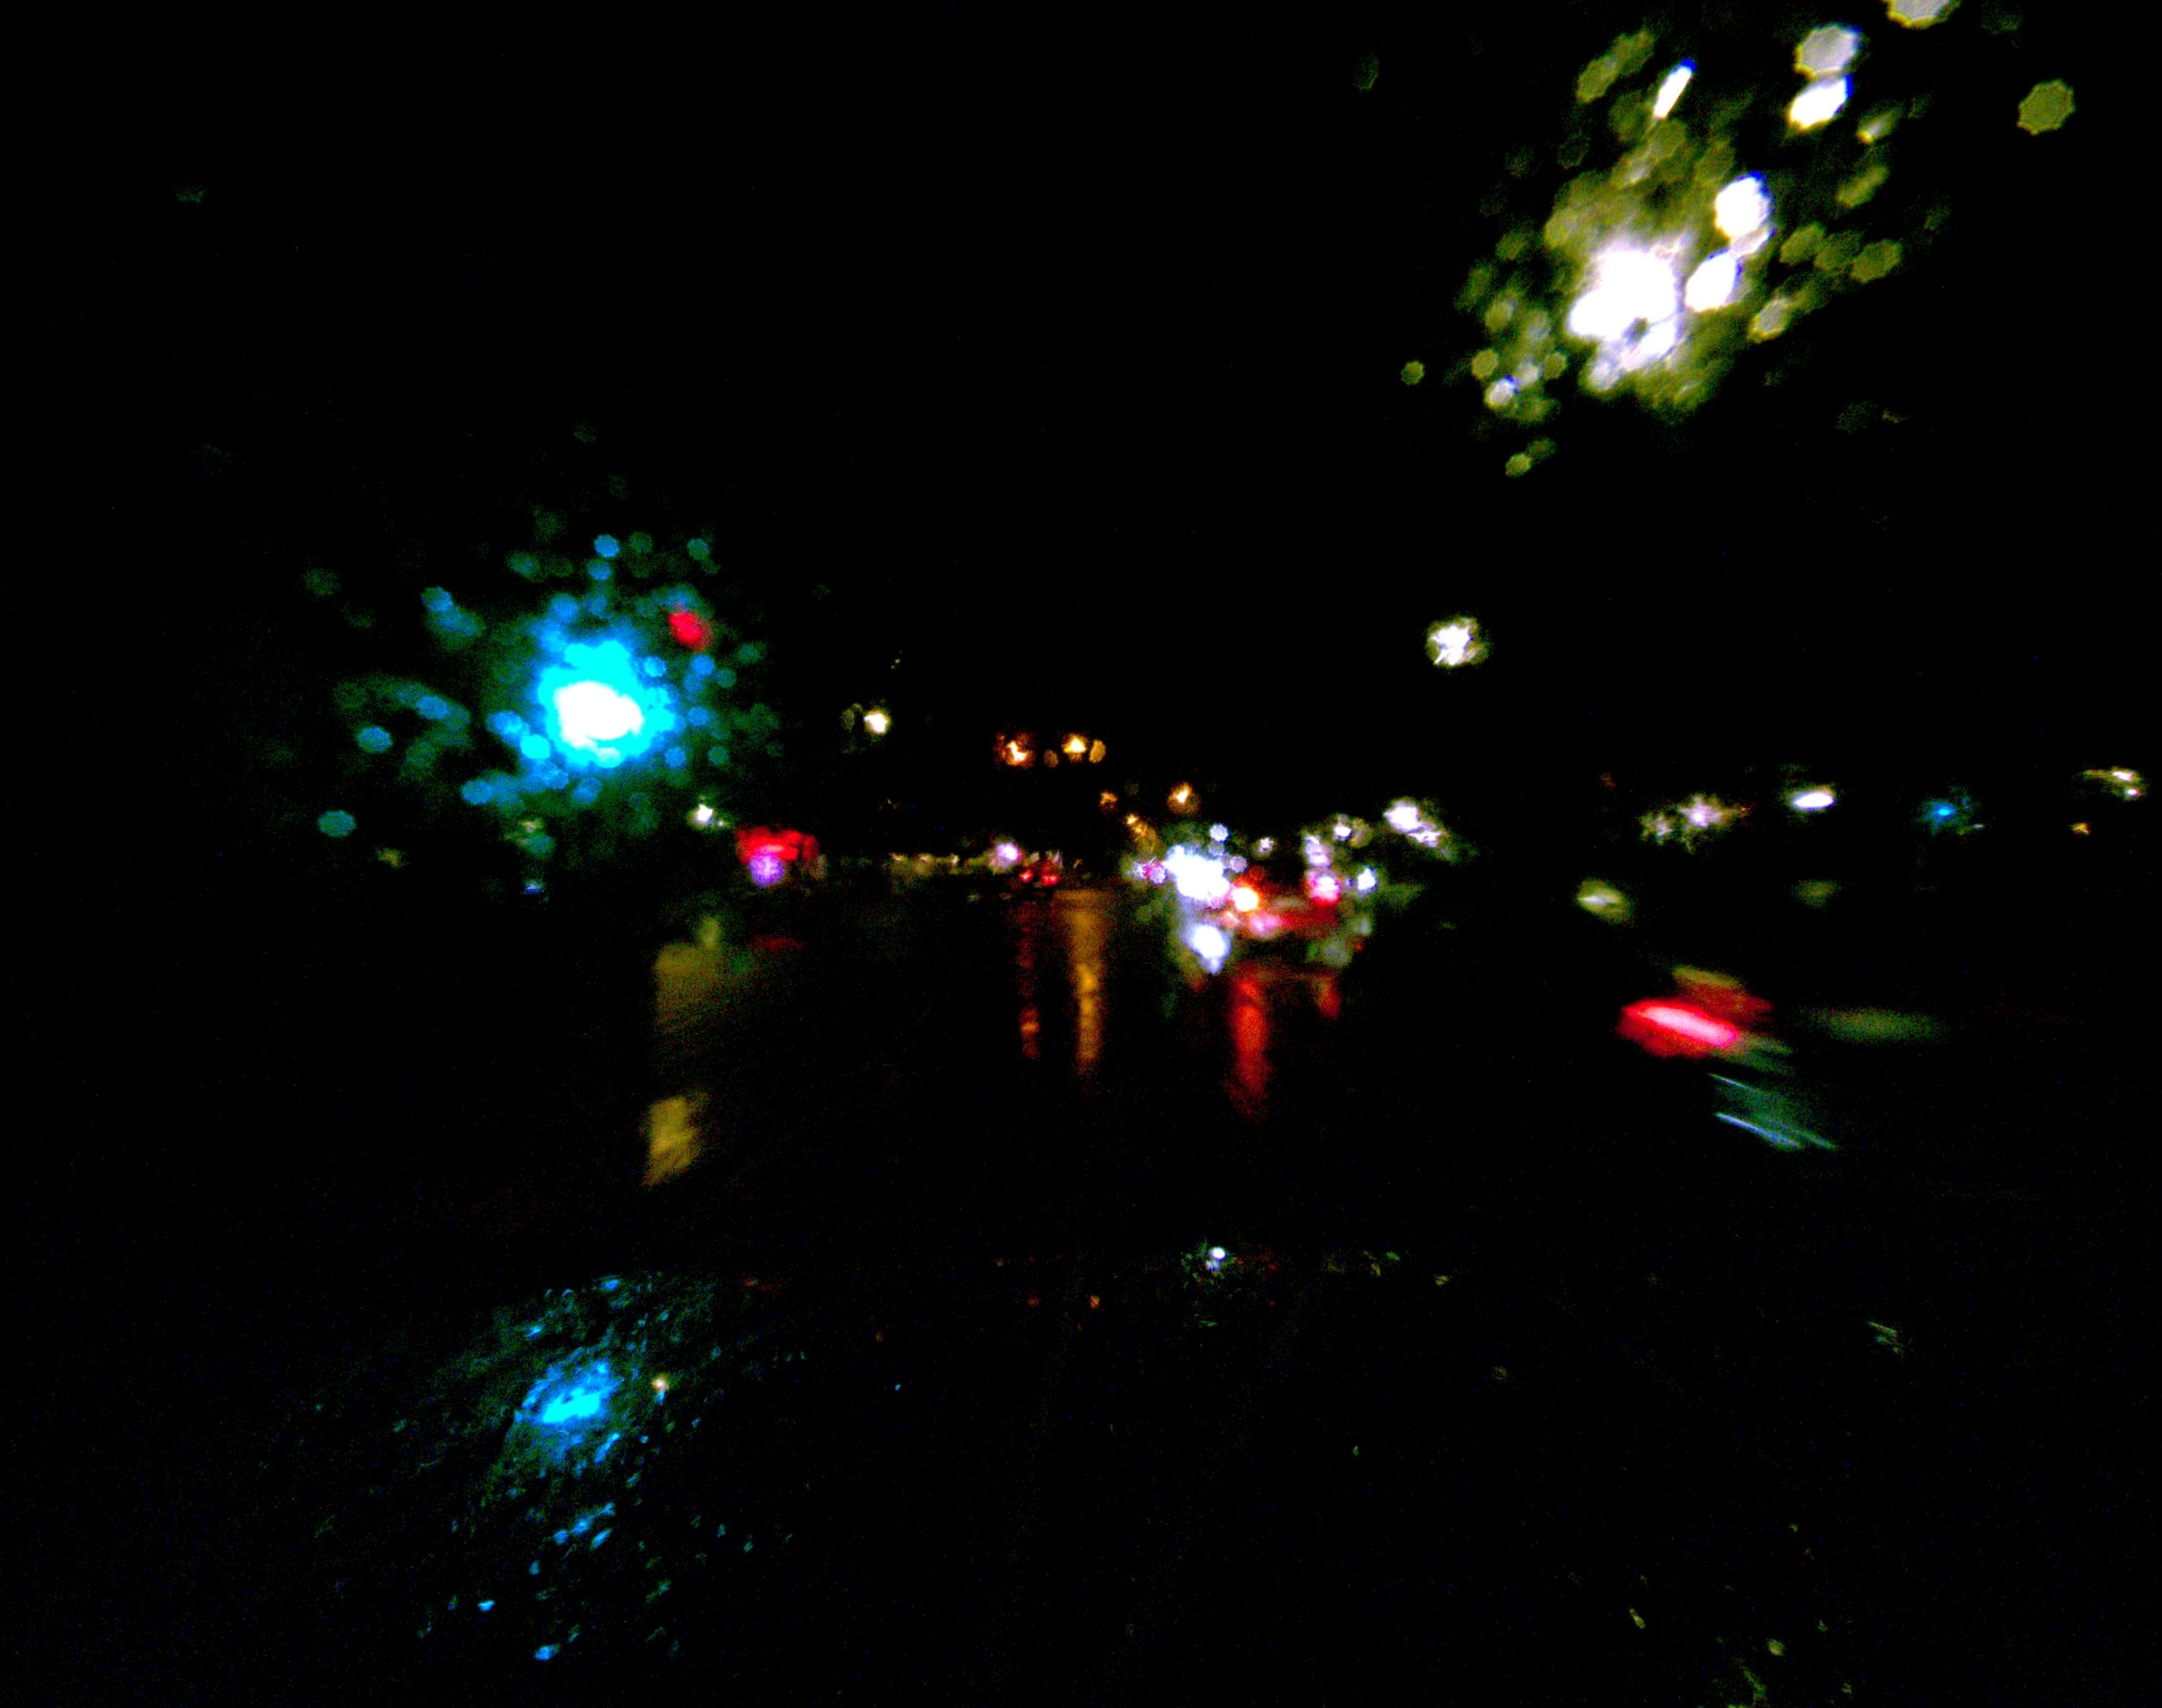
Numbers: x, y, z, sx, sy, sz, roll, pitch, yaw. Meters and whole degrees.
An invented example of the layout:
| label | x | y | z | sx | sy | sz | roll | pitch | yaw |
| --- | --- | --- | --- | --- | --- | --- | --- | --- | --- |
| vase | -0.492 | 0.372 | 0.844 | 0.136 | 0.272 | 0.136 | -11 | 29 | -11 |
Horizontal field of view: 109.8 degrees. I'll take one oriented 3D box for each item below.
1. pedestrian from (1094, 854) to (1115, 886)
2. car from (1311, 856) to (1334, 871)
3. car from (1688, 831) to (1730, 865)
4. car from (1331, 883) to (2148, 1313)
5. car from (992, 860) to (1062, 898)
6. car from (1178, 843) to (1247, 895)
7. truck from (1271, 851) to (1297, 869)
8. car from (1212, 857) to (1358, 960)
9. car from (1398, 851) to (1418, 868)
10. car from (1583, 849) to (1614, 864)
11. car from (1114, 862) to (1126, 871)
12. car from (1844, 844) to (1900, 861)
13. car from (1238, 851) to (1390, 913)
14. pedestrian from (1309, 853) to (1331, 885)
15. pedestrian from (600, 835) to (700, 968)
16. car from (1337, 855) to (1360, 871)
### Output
| label | x | y | z | sx | sy | sz | roll | pitch | yaw |
| --- | --- | --- | --- | --- | --- | --- | --- | --- | --- |
| pedestrian | 1.379 | 0.932 | 44.633 | 1.109 | 1.815 | 0.852 | -1 | -1 | 9 |
| car | 24.785 | 0.939 | 77.935 | 1.715 | 1.511 | 3.926 | -2 | -1 | 26 |
| car | 52.841 | -0.519 | 64.003 | 1.715 | 2.715 | 4.362 | -2 | 0 | 26 |
| car | 3.066 | 0.971 | 4.816 | 1.672 | 1.412 | 4.098 | -1 | 0 | 1 |
| car | -2.414 | 1.046 | 32.895 | 1.714 | 1.533 | 3.981 | -1 | 0 | -24 |
| car | 5.283 | 0.625 | 31.250 | 2.039 | 1.941 | 5.201 | -1 | -1 | 1 |
| truck | 24.096 | 0.768 | 89.990 | 2.125 | 2.001 | 5.272 | -2 | -1 | 24 |
| car | 3.473 | 0.846 | 13.663 | 1.672 | 1.553 | 4.008 | -1 | 0 | 2 |
| car | 36.362 | 0.588 | 84.327 | 1.866 | 1.750 | 4.502 | -2 | -1 | 25 |
| car | 52.193 | 0.264 | 76.743 | 1.866 | 1.434 | 4.502 | -2 | -1 | 25 |
| car | 6.904 | 2.187 | 134.751 | 1.826 | 1.521 | 4.785 | 0 | 0 | 6 |
| car | 69.317 | -0.107 | 66.684 | 1.866 | 1.434 | 4.502 | -2 | -1 | 25 |
| car | 6.440 | 0.723 | 21.657 | 1.825 | 1.533 | 4.720 | -1 | 0 | -16 |
| pedestrian | 12.954 | 0.792 | 41.163 | 0.769 | 1.726 | 0.972 | -1 | 0 | 40 |
| pedestrian | -6.822 | 0.728 | 12.093 | 1.015 | 2.001 | 0.977 | -1 | 0 | -4 |
| car | 26.830 | 0.876 | 76.249 | 1.715 | 1.511 | 3.926 | -2 | -1 | 26 |
